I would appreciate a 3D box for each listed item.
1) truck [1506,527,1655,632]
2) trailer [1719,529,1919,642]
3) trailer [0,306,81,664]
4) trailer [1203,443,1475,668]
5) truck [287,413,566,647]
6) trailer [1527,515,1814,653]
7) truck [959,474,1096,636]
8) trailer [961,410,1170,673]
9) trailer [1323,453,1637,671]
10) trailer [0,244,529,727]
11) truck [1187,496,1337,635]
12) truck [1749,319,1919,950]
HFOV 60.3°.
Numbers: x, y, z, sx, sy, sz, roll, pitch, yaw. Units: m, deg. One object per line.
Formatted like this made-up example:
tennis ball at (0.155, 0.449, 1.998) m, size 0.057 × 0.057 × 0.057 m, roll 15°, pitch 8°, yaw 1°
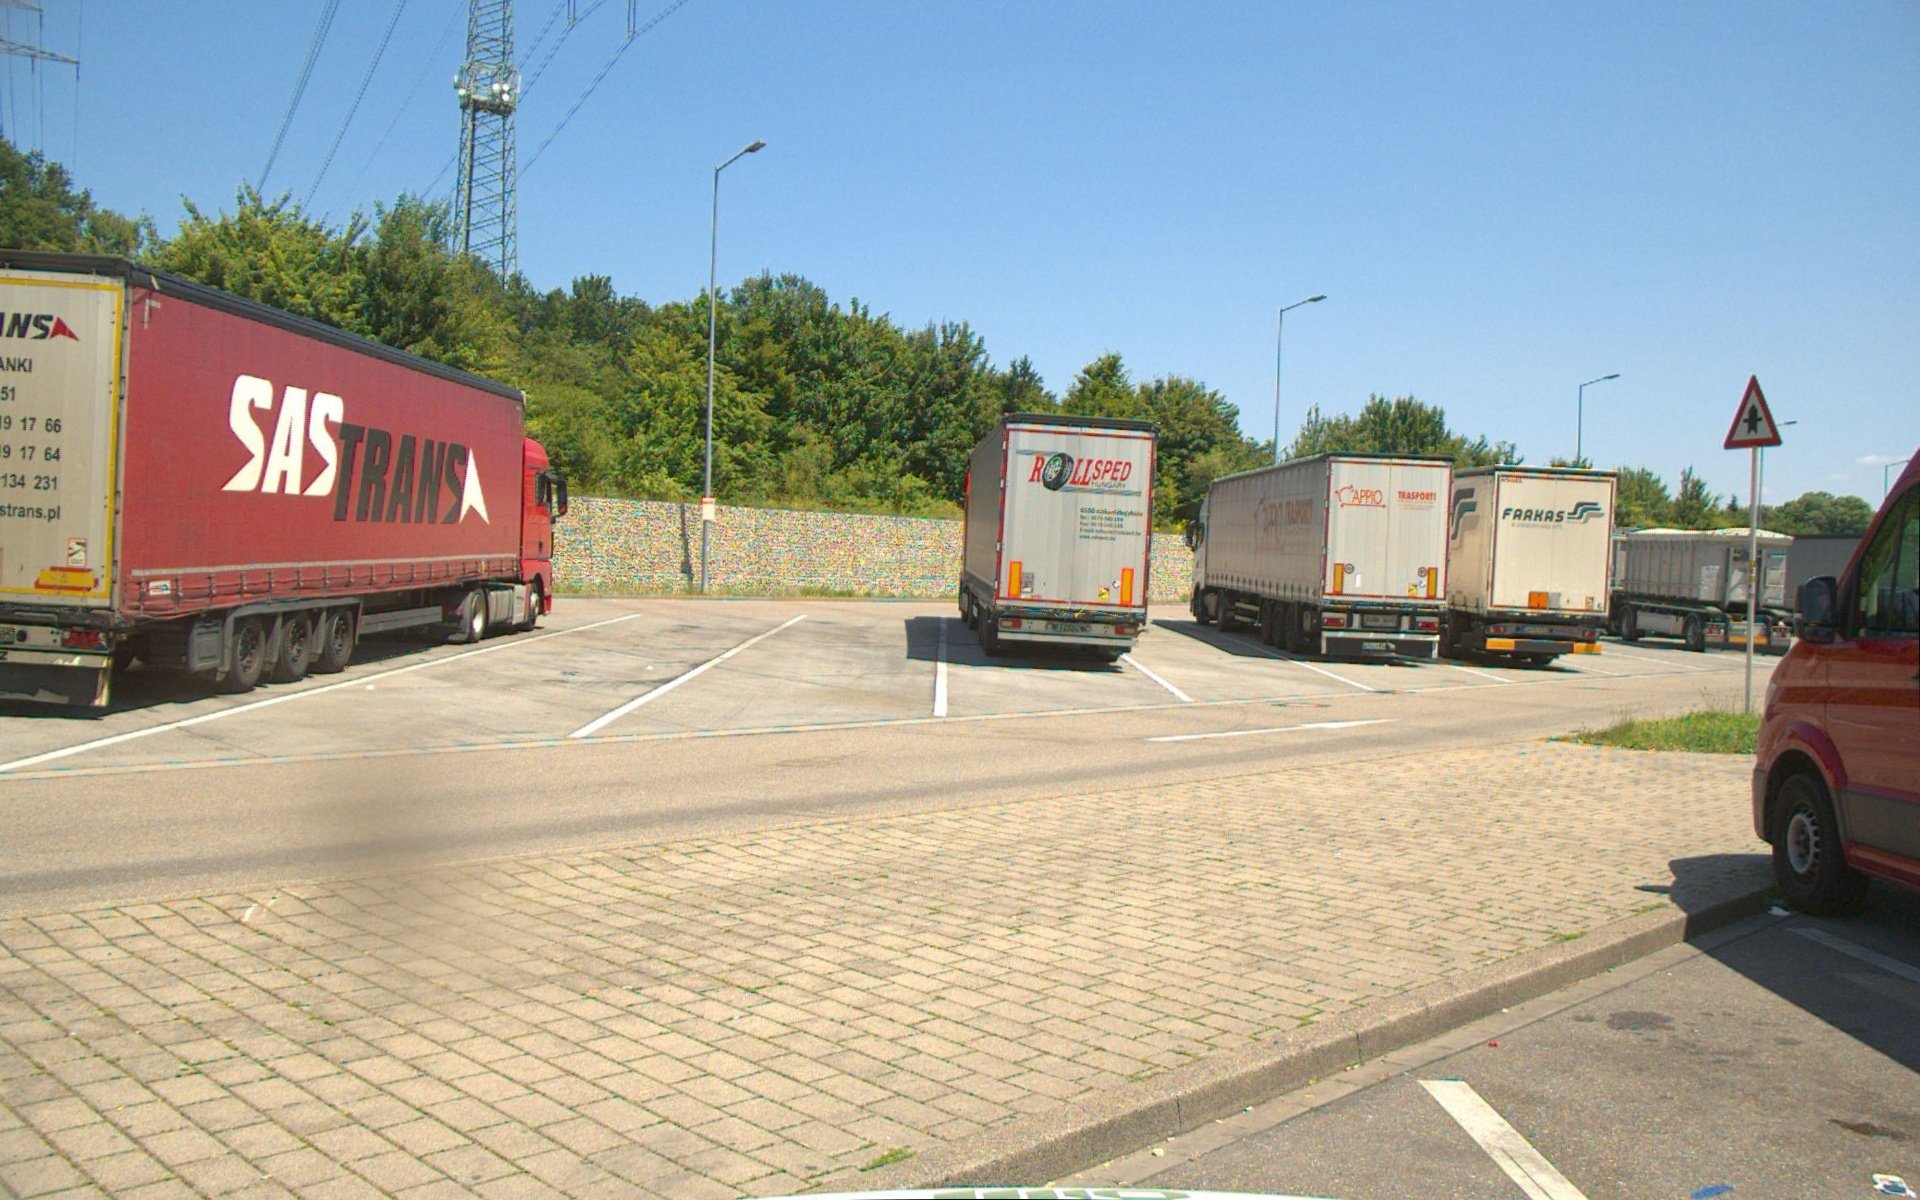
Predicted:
truck at (21.741, -0.792, 58.328) m, size 2.808 × 3.421 × 5.974 m, roll 2°, pitch 2°, yaw -1°
trailer at (34.792, -0.705, 65.433) m, size 2.800 × 3.972 × 13.762 m, roll 2°, pitch 2°, yaw -1°
trailer at (-12.483, -1.260, 15.782) m, size 2.651 × 4.173 × 10.389 m, roll 2°, pitch 2°, yaw -1°
trailer at (8.253, -1.101, 38.490) m, size 2.800 × 4.180 × 13.762 m, roll 2°, pitch 2°, yaw -1°
truck at (-8.796, -1.164, 28.055) m, size 2.755 × 3.421 × 5.974 m, roll 2°, pitch 2°, yaw -1°
trailer at (21.839, -0.678, 52.233) m, size 2.800 × 3.662 × 13.762 m, roll 2°, pitch 2°, yaw -1°
truck at (1.479, -1.092, 39.334) m, size 2.808 × 3.421 × 5.974 m, roll 2°, pitch 2°, yaw -1°
trailer at (1.680, -1.175, 33.137) m, size 2.800 × 4.040 × 13.761 m, roll 2°, pitch 2°, yaw -2°
trailer at (11.773, -0.989, 39.554) m, size 2.800 × 4.180 × 13.762 m, roll 2°, pitch 2°, yaw -1°
trailer at (-8.687, -1.271, 21.239) m, size 2.764 × 4.141 × 13.763 m, roll 2°, pitch 2°, yaw -1°
truck at (8.130, -0.984, 45.252) m, size 2.808 × 3.421 × 5.974 m, roll 2°, pitch 2°, yaw -1°
truck at (4.997, 0.159, 5.506) m, size 1.969 × 2.697 × 6.457 m, roll 1°, pitch 0°, yaw 3°
